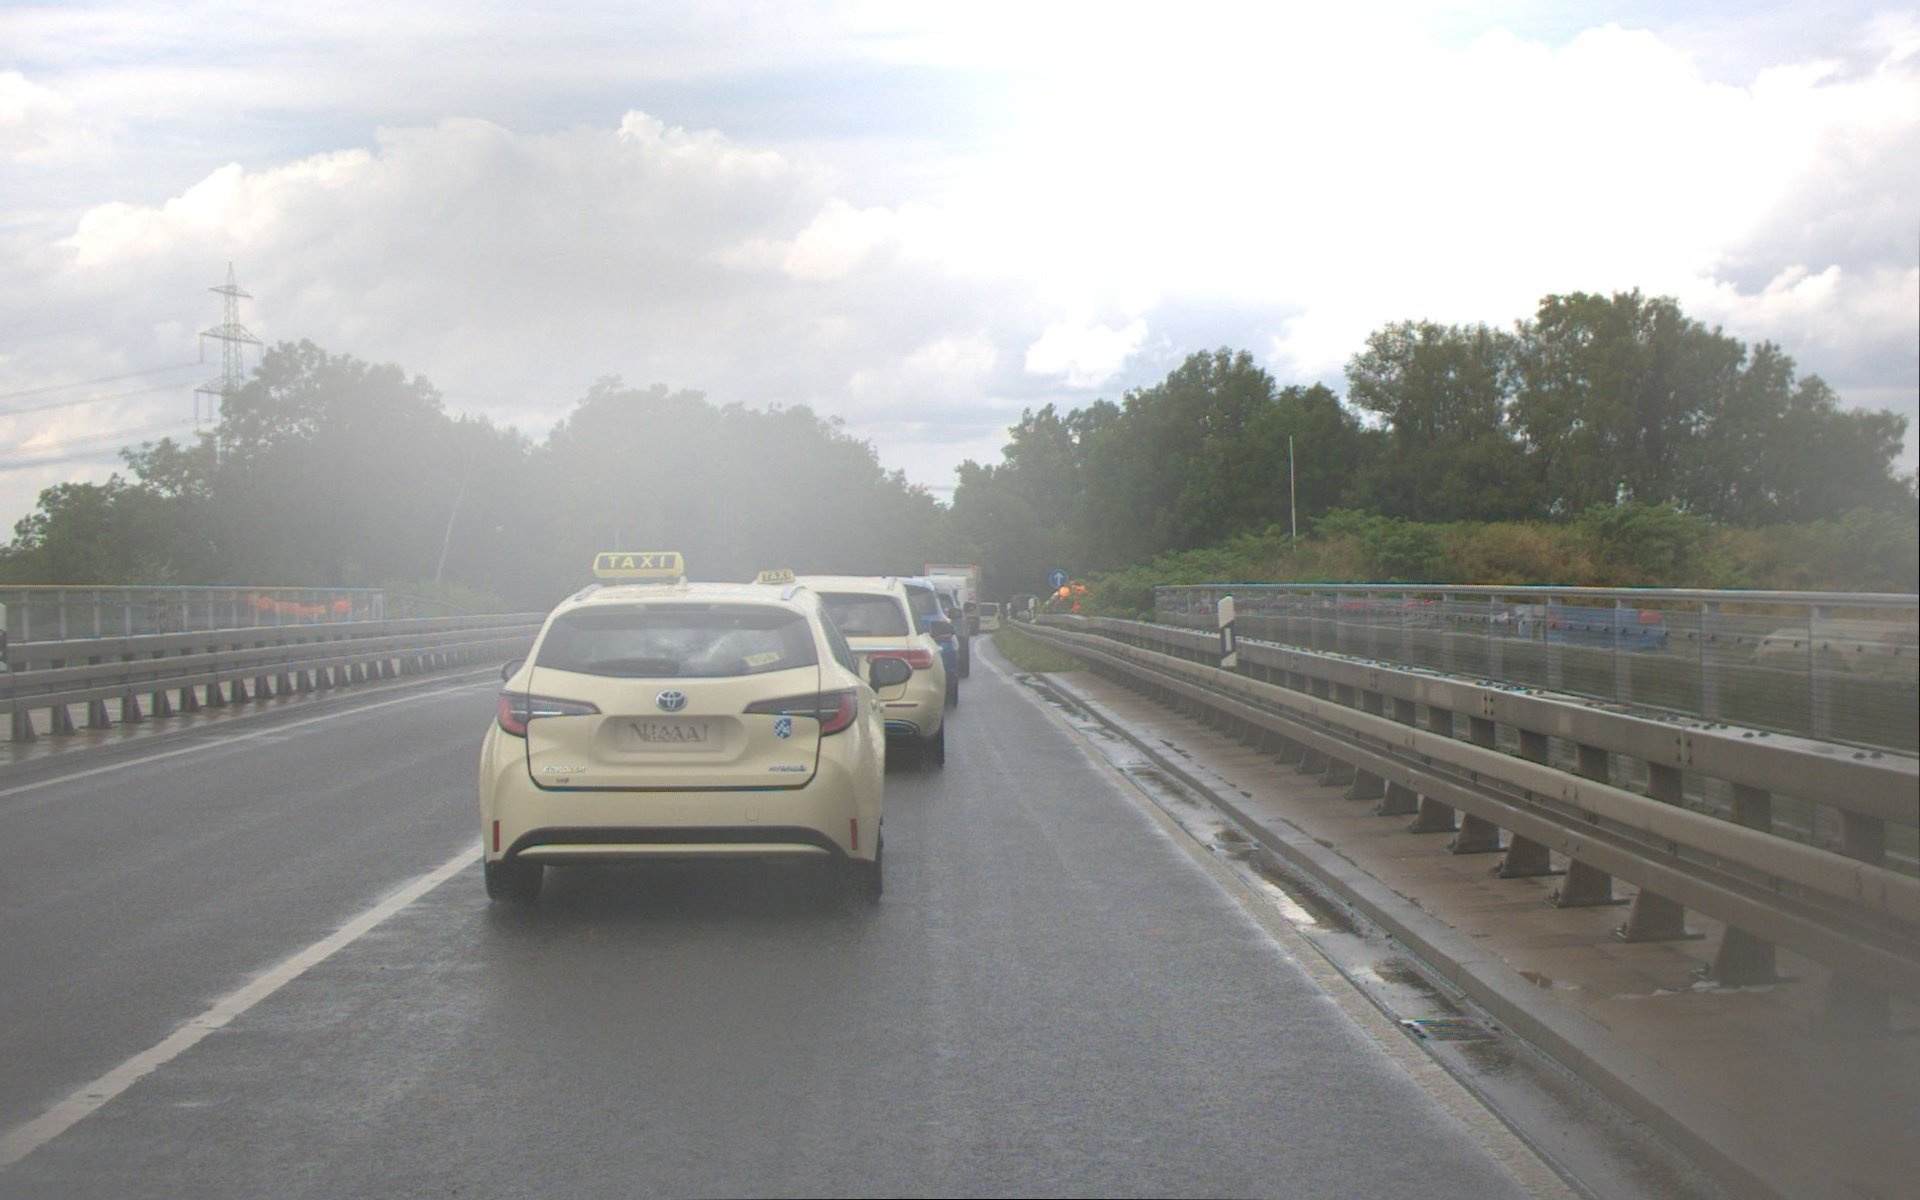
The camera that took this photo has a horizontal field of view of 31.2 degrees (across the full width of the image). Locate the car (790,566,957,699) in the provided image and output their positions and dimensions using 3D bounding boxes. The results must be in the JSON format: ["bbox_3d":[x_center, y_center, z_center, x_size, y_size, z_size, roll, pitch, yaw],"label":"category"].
[{"bbox_3d":[-1.001,0.342,40.729,1.854,1.438,4.171,1,1,-1],"label":"car"}]

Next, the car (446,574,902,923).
[{"bbox_3d":[-1.223,0.602,16.358,1.854,1.389,4.171,1,1,-1],"label":"car"}]

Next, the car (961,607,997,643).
[{"bbox_3d":[1.098,1.456,199.971,1.993,2.007,4.000,1,0,-1],"label":"car"}]

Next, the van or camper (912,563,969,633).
[{"bbox_3d":[-0.834,-0.107,146.050,2.332,2.854,6.307,1,0,-1],"label":"van or camper"}]

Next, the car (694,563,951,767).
[{"bbox_3d":[-1.032,0.455,27.250,1.854,1.438,4.171,1,1,-1],"label":"car"}]

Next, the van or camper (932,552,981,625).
[{"bbox_3d":[-0.182,-0.586,172.099,2.332,3.550,6.307,1,0,-1],"label":"van or camper"}]
